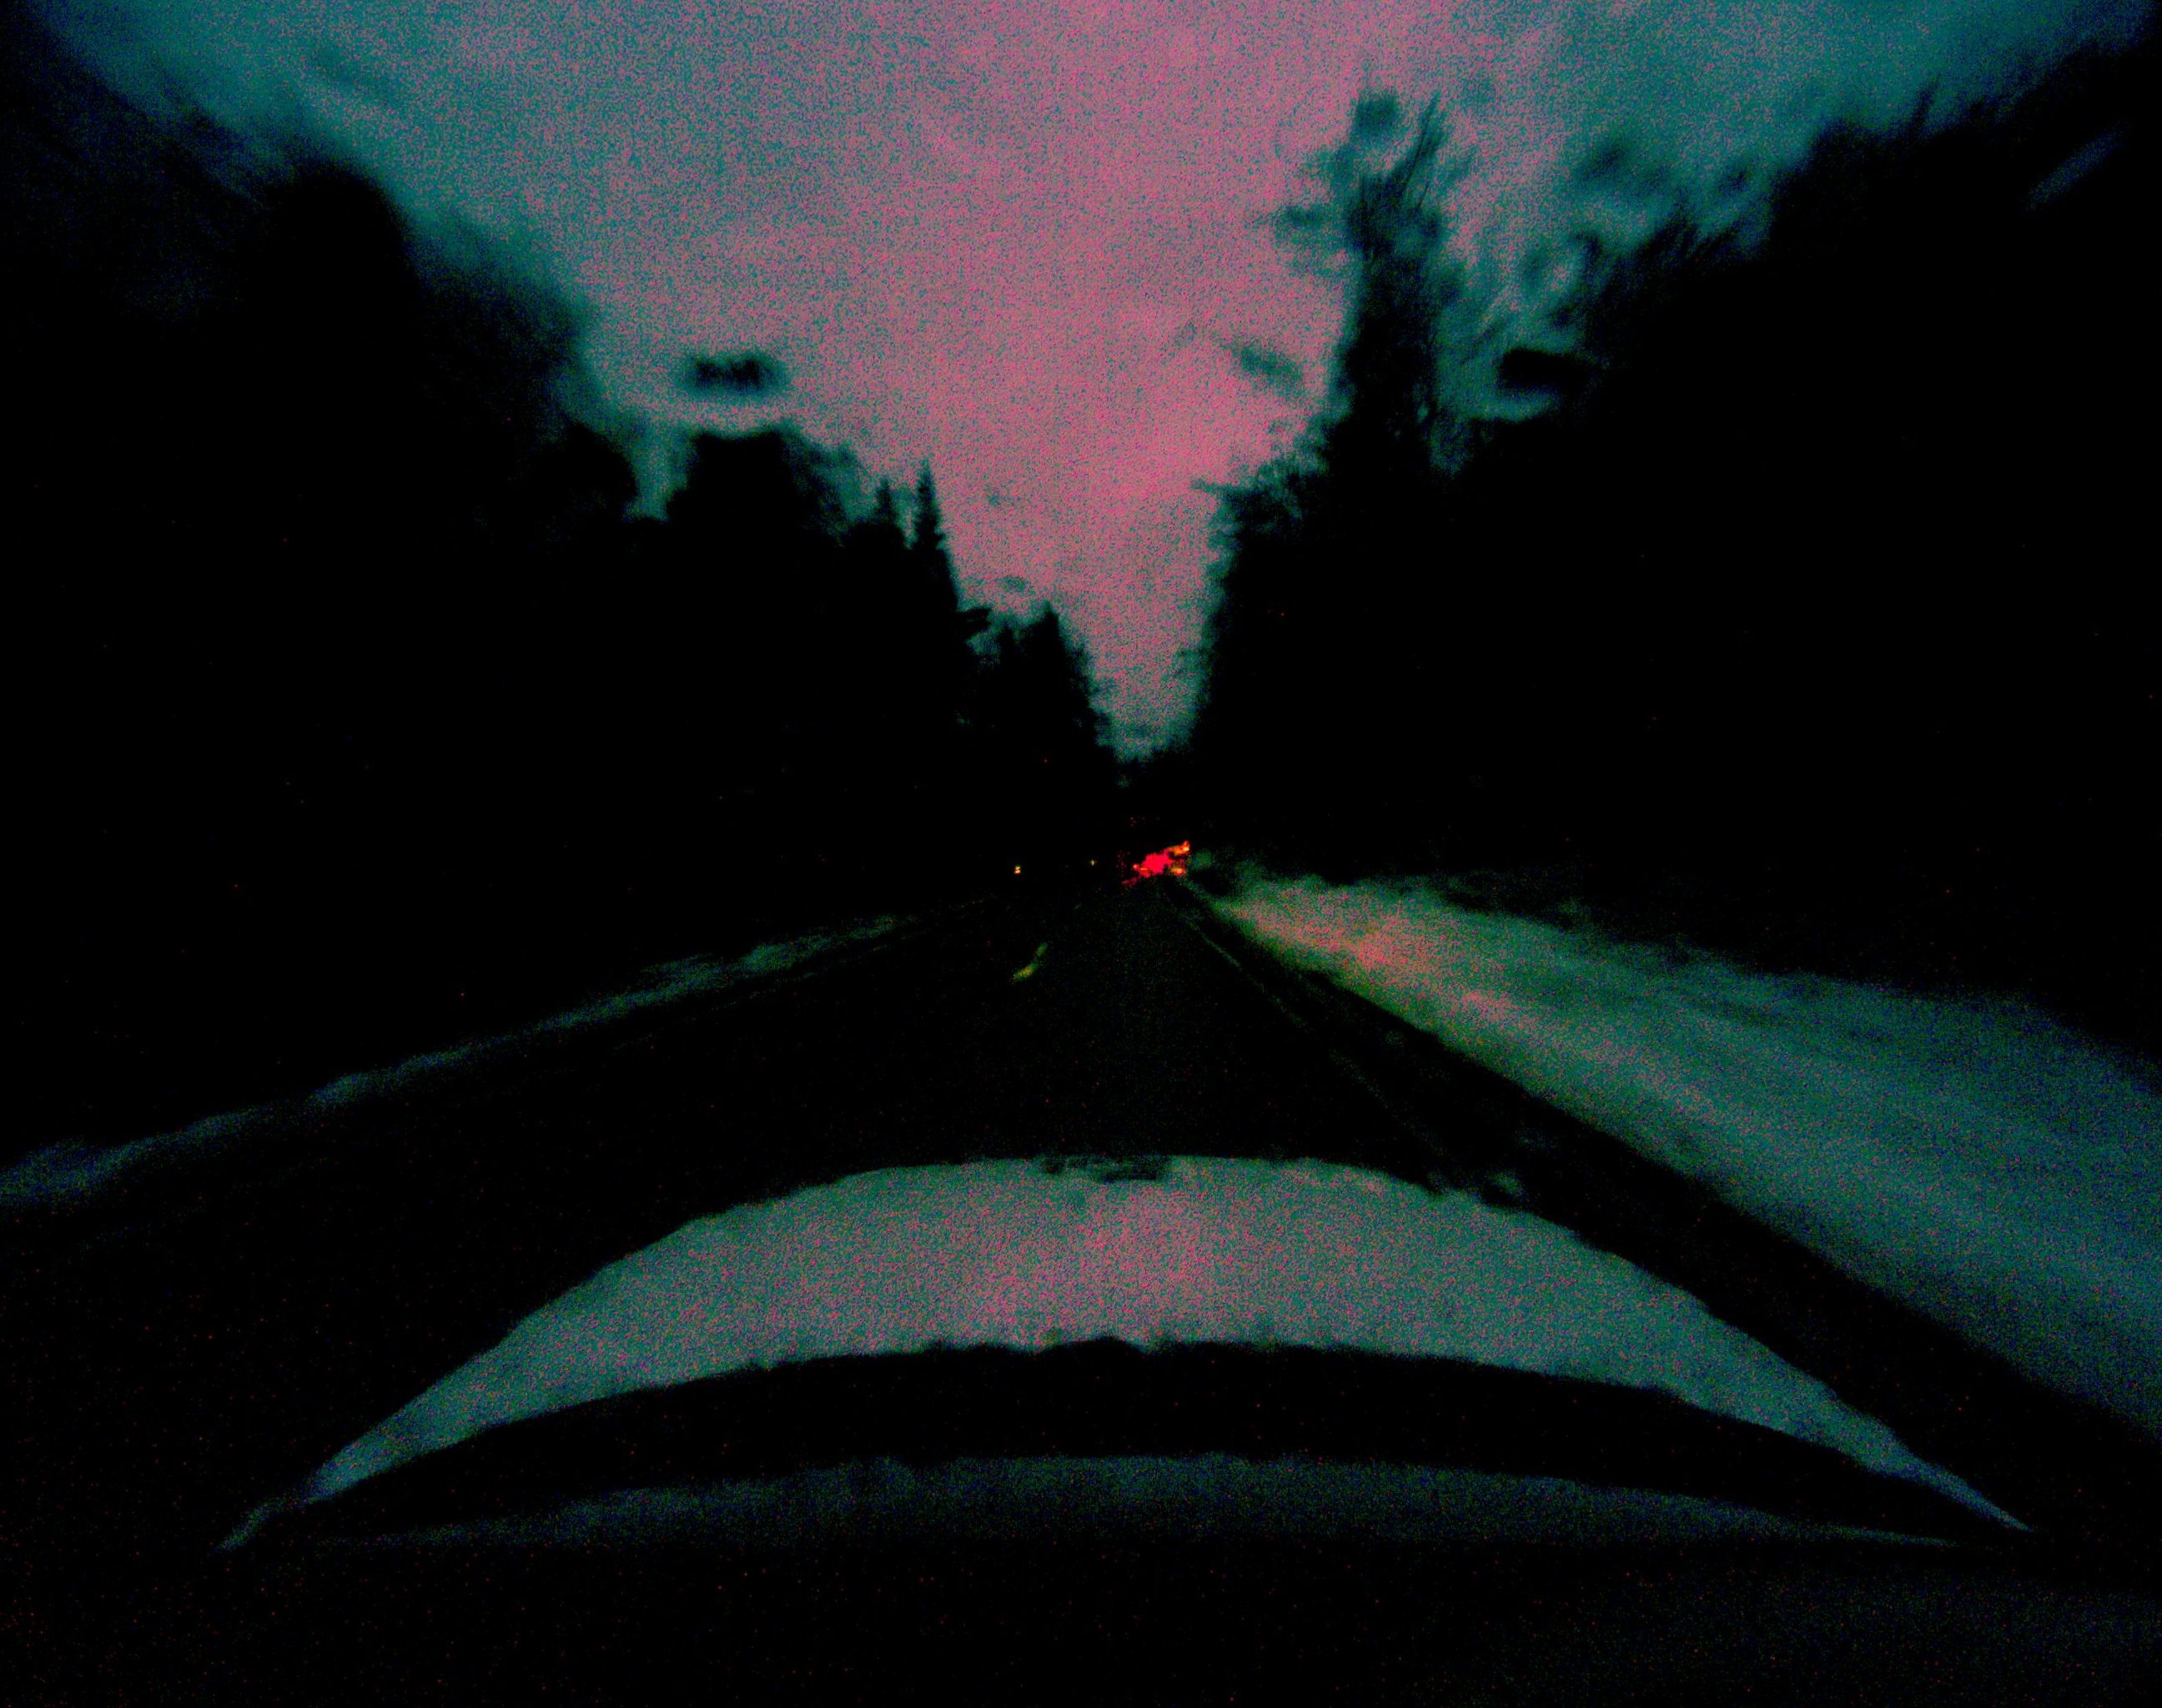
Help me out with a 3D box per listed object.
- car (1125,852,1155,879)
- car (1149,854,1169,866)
[{"bbox_3d":[4.632,0.850,63.489,1.983,1.872,4.009,-4,0,7],"label":"car"},{"bbox_3d":[9.575,0.704,100.743,1.988,1.310,3.998,-4,0,-1],"label":"car"}]
